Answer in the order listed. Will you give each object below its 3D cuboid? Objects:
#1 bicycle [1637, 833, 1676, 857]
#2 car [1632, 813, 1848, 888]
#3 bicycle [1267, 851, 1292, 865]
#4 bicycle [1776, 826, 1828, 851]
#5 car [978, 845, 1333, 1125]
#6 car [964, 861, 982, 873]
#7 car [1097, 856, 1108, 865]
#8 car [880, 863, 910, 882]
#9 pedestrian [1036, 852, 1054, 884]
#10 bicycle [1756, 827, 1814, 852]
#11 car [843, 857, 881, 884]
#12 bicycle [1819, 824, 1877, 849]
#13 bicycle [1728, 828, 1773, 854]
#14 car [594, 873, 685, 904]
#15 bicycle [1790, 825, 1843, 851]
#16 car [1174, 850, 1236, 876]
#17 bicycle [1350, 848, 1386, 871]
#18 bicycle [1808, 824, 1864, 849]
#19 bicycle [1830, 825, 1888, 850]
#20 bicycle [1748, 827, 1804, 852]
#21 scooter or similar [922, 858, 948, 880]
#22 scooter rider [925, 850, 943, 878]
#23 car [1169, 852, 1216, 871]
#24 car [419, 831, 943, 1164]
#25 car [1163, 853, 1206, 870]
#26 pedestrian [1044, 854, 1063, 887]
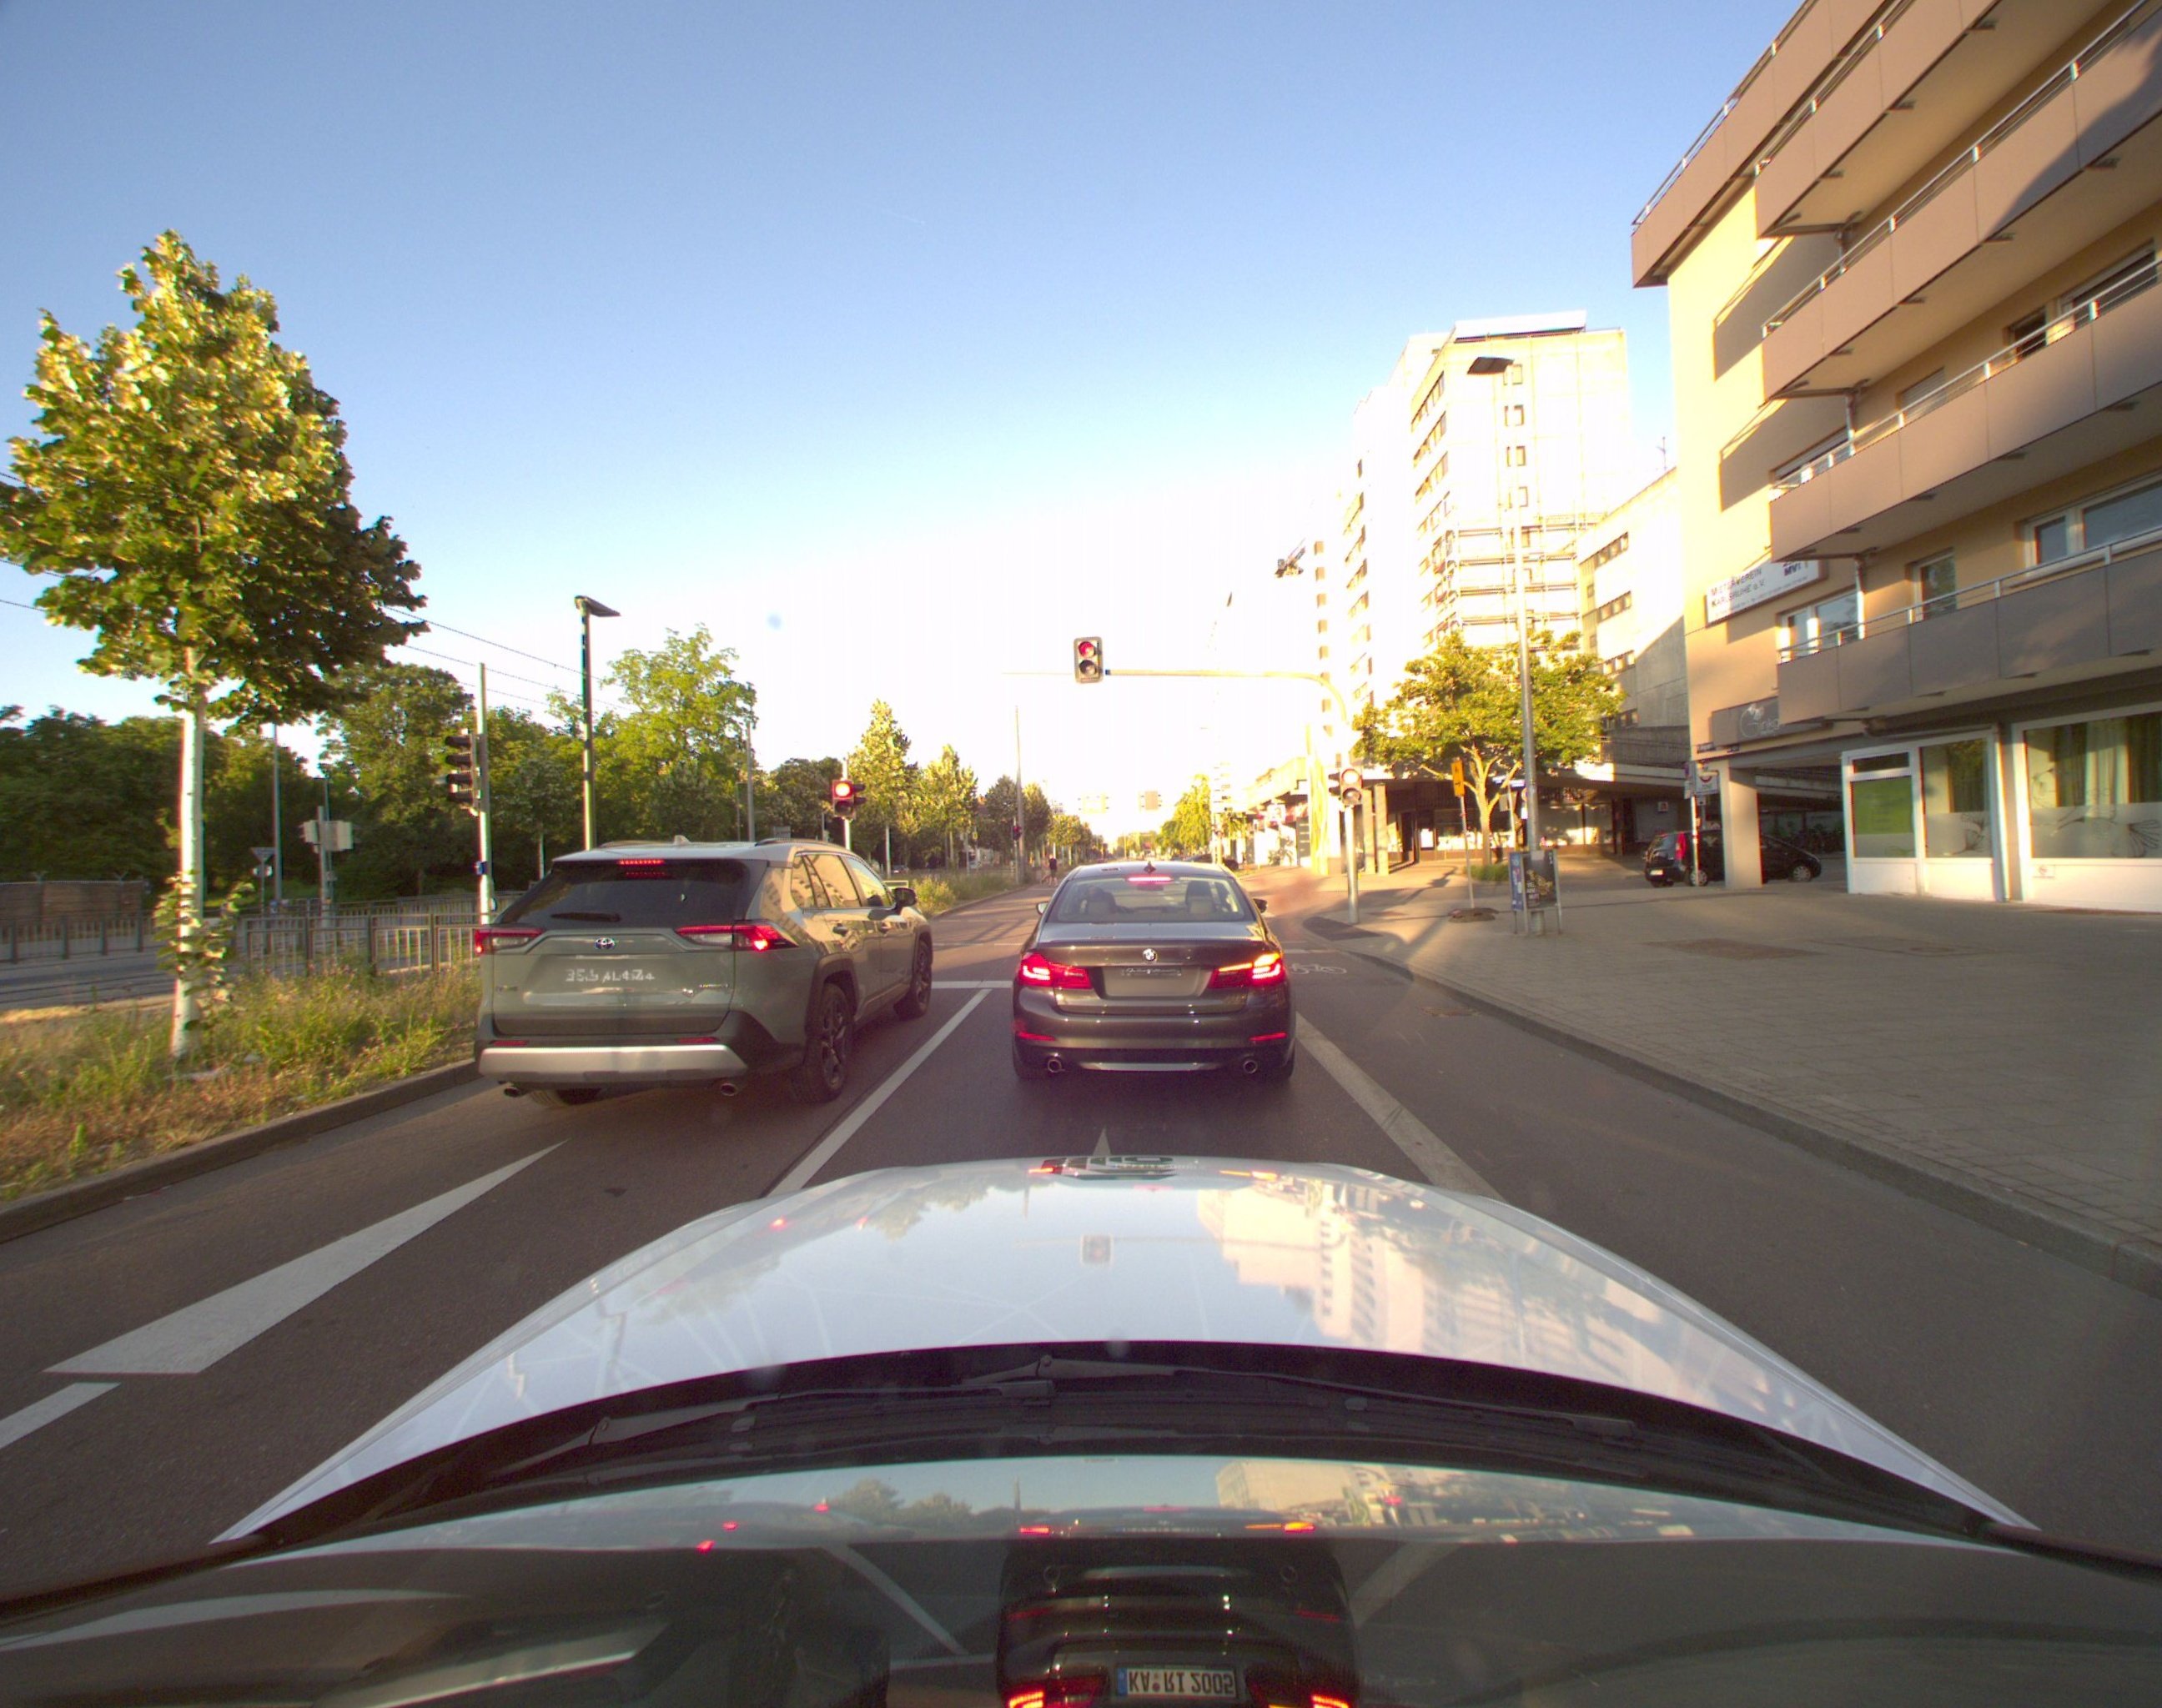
[{"bbox_3d":[26.973,-0.408,38.214,0.578,1.075,1.980,1,-1,5],"label":"bicycle"},{"bbox_3d":[17.164,-0.046,21.377,4.020,1.585,1.708,-4,-4,6],"label":"car"},{"bbox_3d":[16.760,0.343,68.727,2.005,1.149,0.692,0,-1,8],"label":"bicycle"},{"bbox_3d":[32.888,-0.683,37.167,0.579,1.075,1.976,1,-1,-1],"label":"bicycle"},{"bbox_3d":[0.612,0.704,6.740,1.922,1.481,4.529,-1,1,5],"label":"car"},{"bbox_3d":[-15.527,1.853,116.968,1.792,1.481,3.786,-2,0,3],"label":"car"},{"bbox_3d":[3.928,1.216,147.134,1.971,1.433,4.846,-1,1,2],"label":"car"},{"bbox_3d":[-19.369,1.874,85.082,1.986,1.744,4.752,-1,1,1],"label":"car"},{"bbox_3d":[-1.940,0.748,43.760,0.832,1.712,0.648,-2,-1,1],"label":"pedestrian"},{"bbox_3d":[32.291,-0.668,37.384,0.583,1.075,1.963,1,-1,-21],"label":"bicycle"},{"bbox_3d":[-19.341,1.425,72.156,1.987,2.168,4.750,-1,1,0],"label":"car"},{"bbox_3d":[34.651,-0.768,36.814,0.580,1.075,1.971,1,-1,-9],"label":"bicycle"},{"bbox_3d":[30.285,-0.569,36.865,0.578,1.075,1.980,1,-1,5],"label":"bicycle"},{"bbox_3d":[-25.078,1.915,46.470,1.980,1.481,4.539,-1,1,13],"label":"car"},{"bbox_3d":[33.448,-0.718,37.069,0.579,1.075,1.976,1,-1,-1],"label":"bicycle"},{"bbox_3d":[8.631,0.612,56.564,4.291,1.658,1.839,-2,1,-40],"label":"car"},{"bbox_3d":[14.475,0.291,41.136,0.690,1.149,2.012,1,-1,-16],"label":"bicycle"},{"bbox_3d":[34.037,-0.768,36.745,0.579,1.075,1.974,1,-1,-4],"label":"bicycle"},{"bbox_3d":[35.279,-0.745,36.969,0.580,1.075,1.971,1,-1,-9],"label":"bicycle"},{"bbox_3d":[31.814,-0.651,37.326,0.582,1.075,1.966,1,-1,-17],"label":"bicycle"},{"bbox_3d":[-8.184,0.845,45.778,1.325,1.153,0.513,-2,-1,-1],"label":"scooter or similar"},{"bbox_3d":[-8.264,0.572,45.810,0.818,1.514,0.653,-2,-1,-1],"label":"scooter rider"},{"bbox_3d":[10.841,0.721,79.054,4.285,1.658,1.841,-2,1,-34],"label":"car"},{"bbox_3d":[-2.389,0.695,6.275,1.848,1.658,4.269,-1,1,1],"label":"car"},{"bbox_3d":[10.807,0.777,85.065,4.284,1.658,1.841,-2,1,-33],"label":"car"},{"bbox_3d":[-1.388,0.820,41.136,0.832,1.586,0.812,-2,-1,1],"label":"pedestrian"}]
